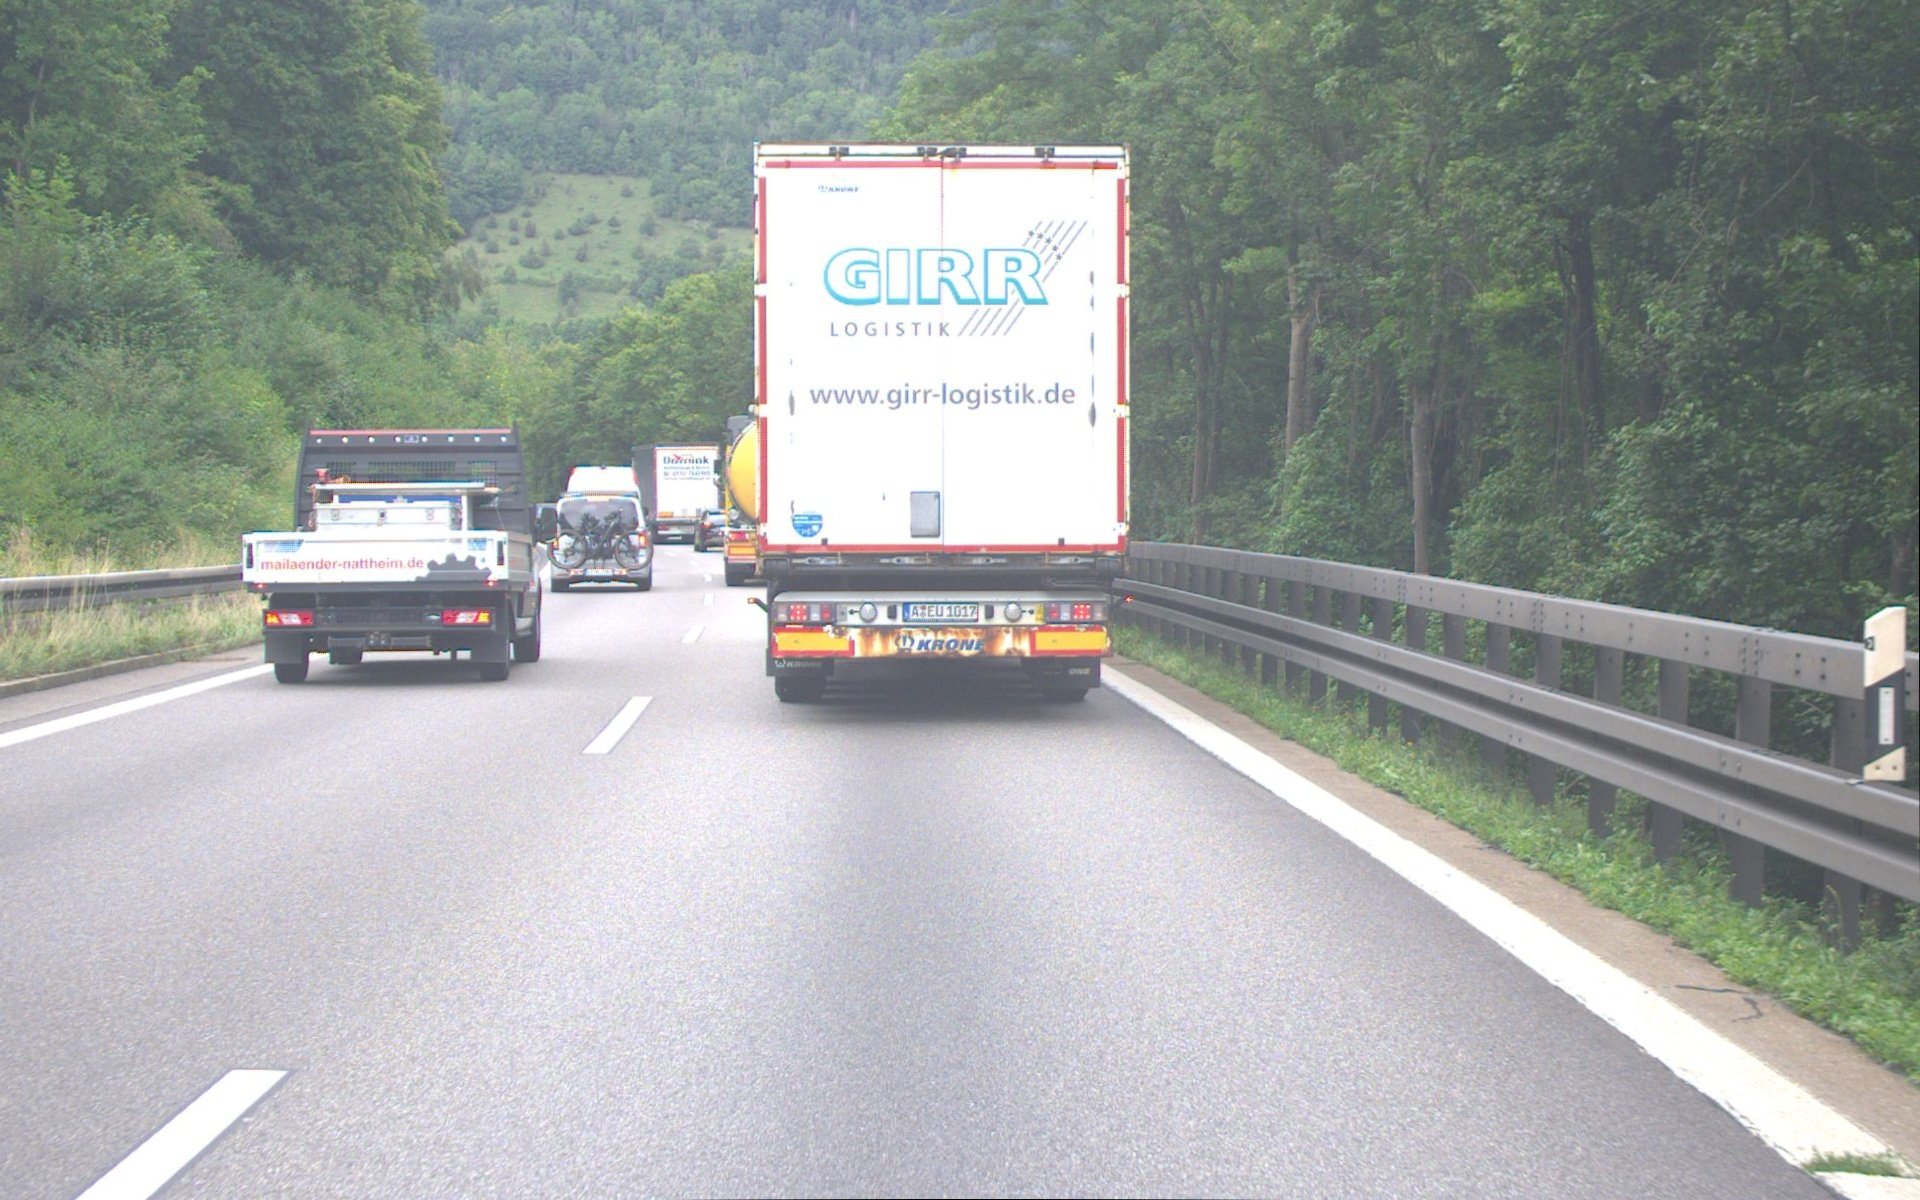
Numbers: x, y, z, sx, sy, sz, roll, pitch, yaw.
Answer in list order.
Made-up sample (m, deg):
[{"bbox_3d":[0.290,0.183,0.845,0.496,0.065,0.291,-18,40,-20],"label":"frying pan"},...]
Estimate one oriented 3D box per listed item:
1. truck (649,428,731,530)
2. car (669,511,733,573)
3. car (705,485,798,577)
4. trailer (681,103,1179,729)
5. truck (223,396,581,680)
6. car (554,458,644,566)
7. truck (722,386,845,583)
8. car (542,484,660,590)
[{"bbox_3d":[-10.916,-4.838,138.942,3.068,3.864,8.460,2,1,-5],"label":"truck"},{"bbox_3d":[-8.811,-1.958,116.610,1.993,2.007,4.001,2,1,-6],"label":"car"},{"bbox_3d":[-4.775,-1.575,79.212,1.993,2.007,4.334,2,1,-2],"label":"car"},{"bbox_3d":[-0.338,-1.345,27.774,3.133,4.029,9.440,3,1,-2],"label":"trailer"},{"bbox_3d":[-4.964,-0.584,31.694,2.349,2.266,6.850,2,1,-2],"label":"truck"},{"bbox_3d":[-9.028,-2.199,86.310,2.123,2.589,5.564,1,1,-5],"label":"car"},{"bbox_3d":[-3.576,-2.313,70.838,2.233,3.791,6.823,2,1,-1],"label":"truck"},{"bbox_3d":[-6.939,-1.250,66.871,2.018,1.907,5.564,2,1,-4],"label":"car"}]
